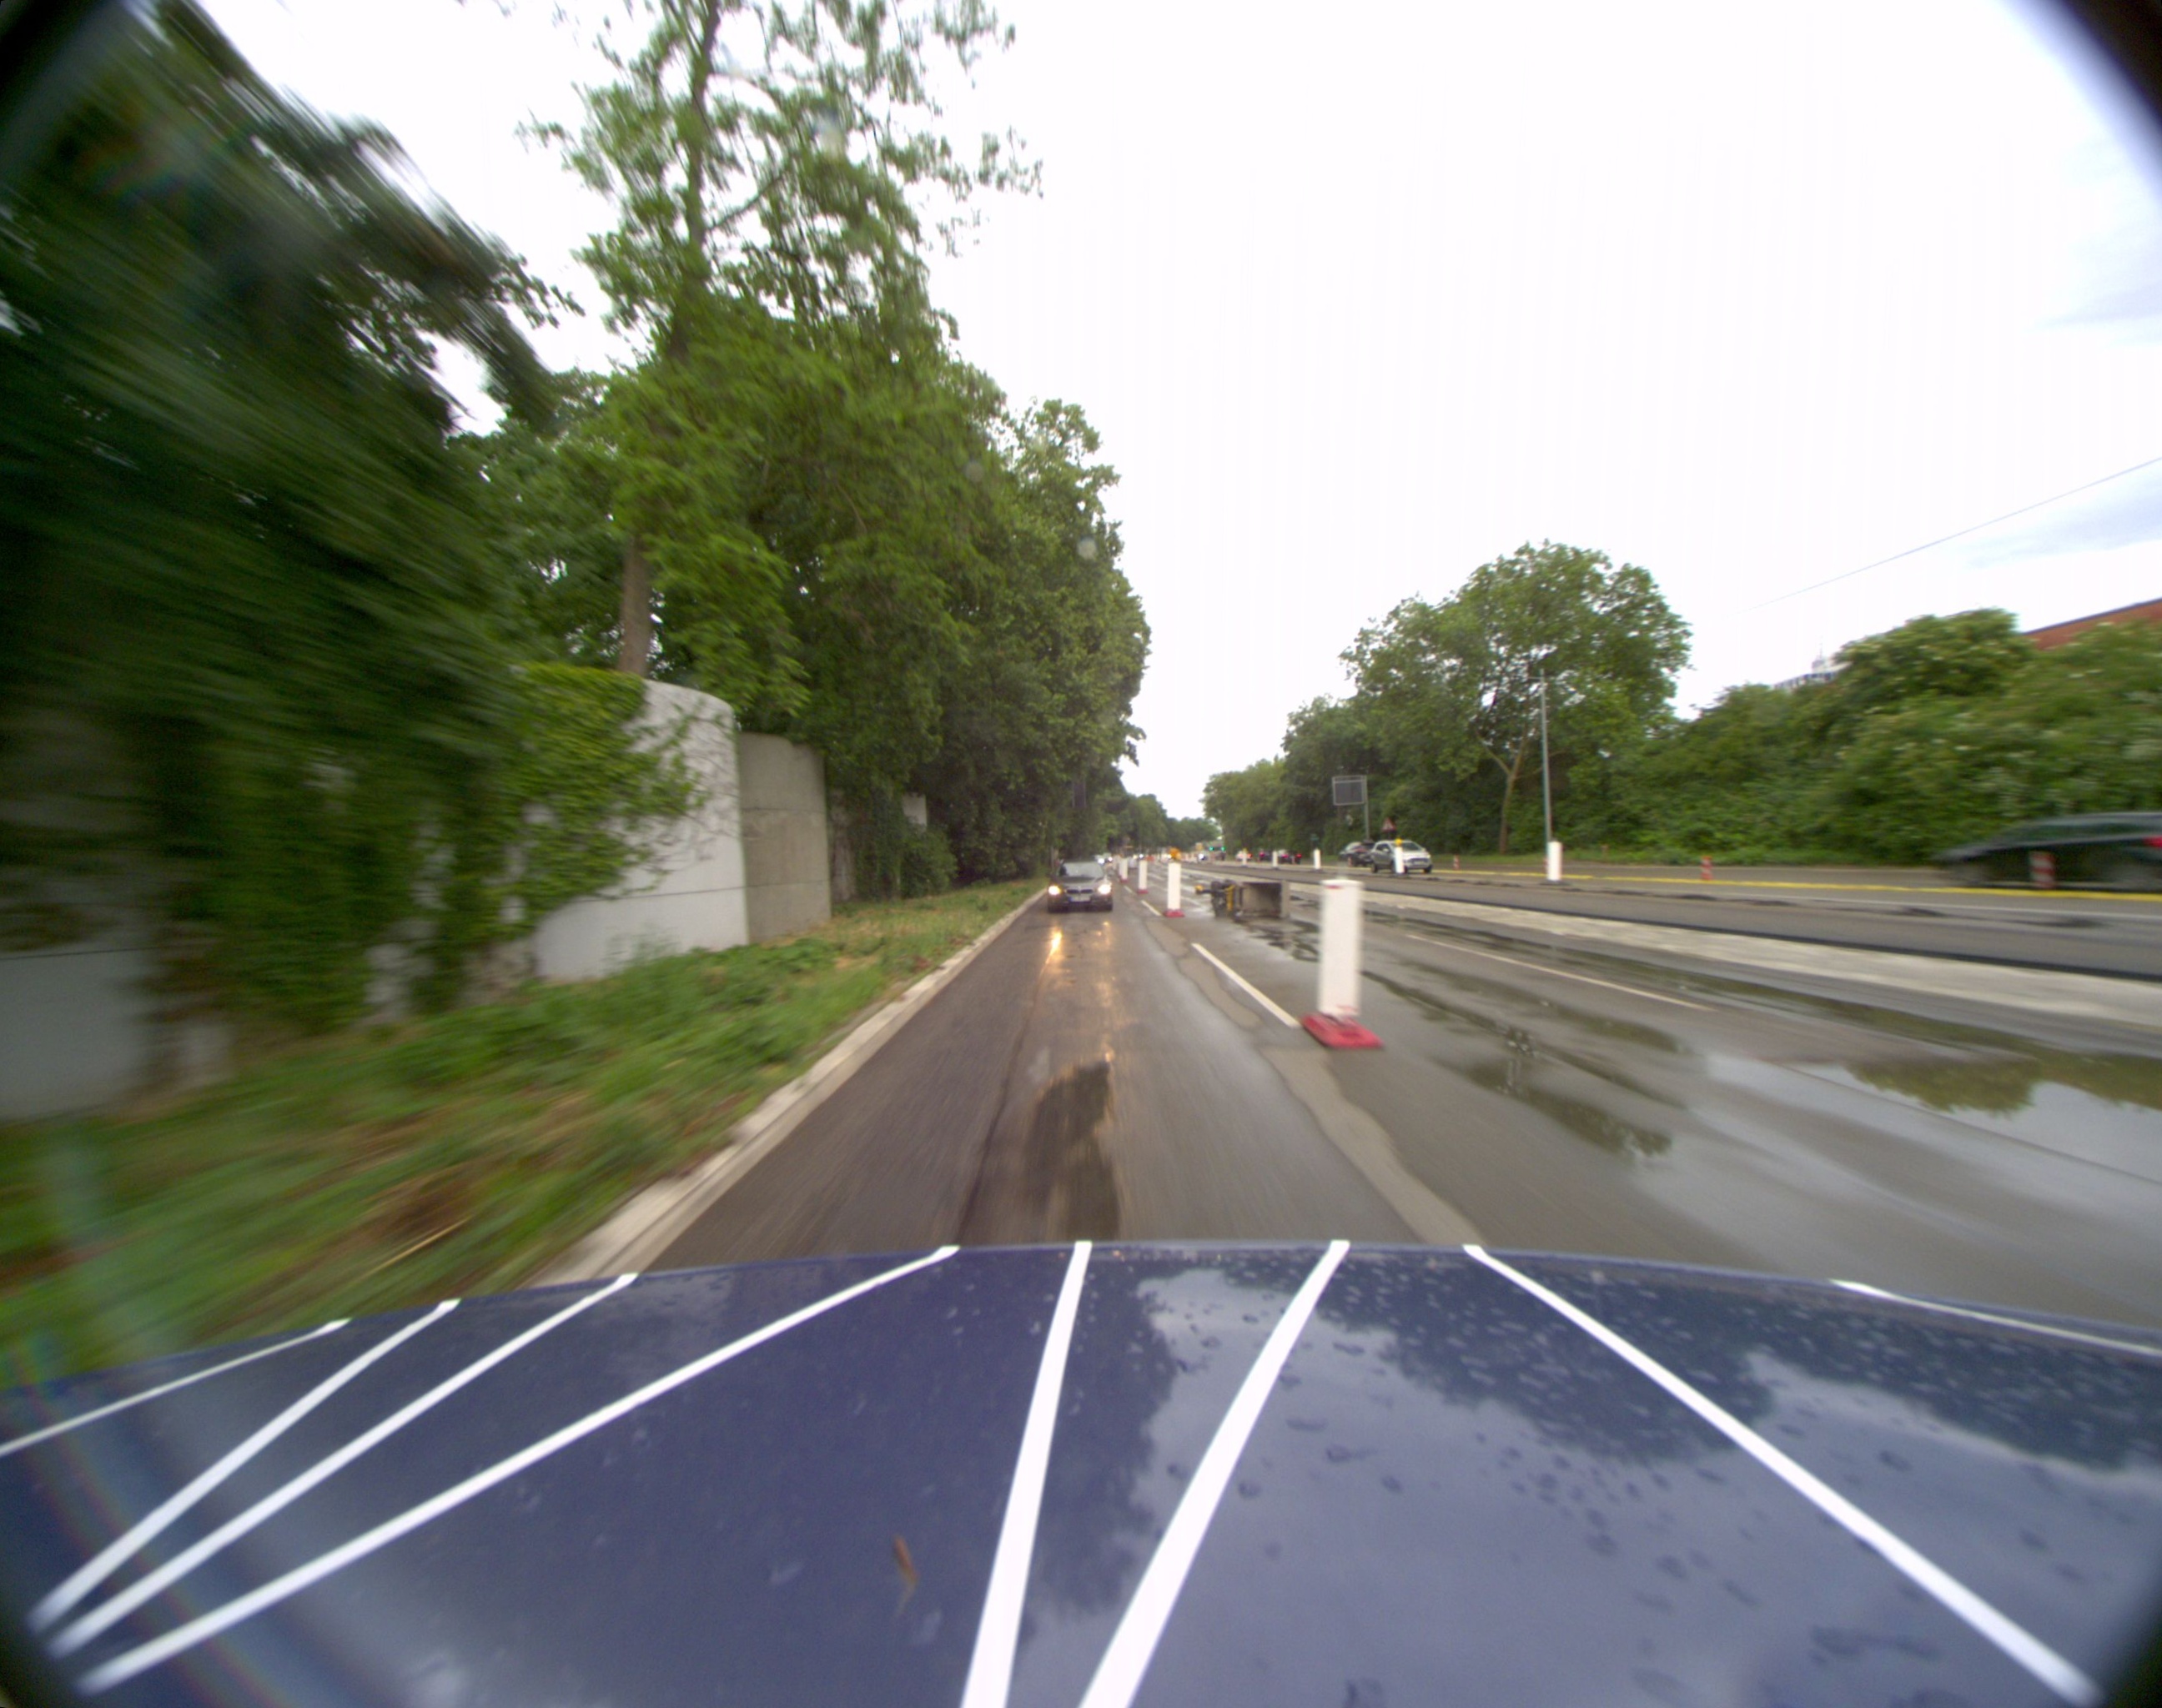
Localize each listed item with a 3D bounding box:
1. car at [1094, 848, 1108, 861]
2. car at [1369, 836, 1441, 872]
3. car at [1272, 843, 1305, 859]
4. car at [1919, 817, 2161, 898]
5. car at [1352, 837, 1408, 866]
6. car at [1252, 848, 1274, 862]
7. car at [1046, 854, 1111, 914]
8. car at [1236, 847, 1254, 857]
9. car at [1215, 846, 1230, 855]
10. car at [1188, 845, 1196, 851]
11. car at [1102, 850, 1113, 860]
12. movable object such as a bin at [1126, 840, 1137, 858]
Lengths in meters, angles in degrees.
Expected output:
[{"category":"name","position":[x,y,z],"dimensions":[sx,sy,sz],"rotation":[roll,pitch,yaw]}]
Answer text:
[{"category":"car","position":[2.730,0.086,103.017],"dimensions":[1.707,1.681,4.472],"rotation":[-1,1,3]},{"category":"car","position":[15.413,-0.023,36.369],"dimensions":[1.794,1.575,3.861],"rotation":[-2,0,1]},{"category":"car","position":[19.807,-0.278,72.773],"dimensions":[1.765,1.475,4.900],"rotation":[-2,0,0]},{"category":"car","position":[18.610,0.031,14.246],"dimensions":[1.452,1.324,3.860],"rotation":[-2,0,-2]},{"category":"car","position":[18.860,-0.162,48.071],"dimensions":[1.739,1.712,4.493],"rotation":[-2,1,0]},{"category":"car","position":[23.127,0.075,96.795],"dimensions":[1.657,1.675,4.533],"rotation":[-3,0,1]},{"category":"car","position":[0.003,0.796,21.949],"dimensions":[1.701,1.477,4.000],"rotation":[-1,1,2]},{"category":"car","position":[24.663,-0.281,114.355],"dimensions":[1.822,1.411,4.602],"rotation":[-3,0,1]},{"category":"car","position":[23.338,-0.554,125.604],"dimensions":[1.822,1.347,4.204],"rotation":[-1,0,1]},{"category":"car","position":[33.128,-1.714,227.483],"dimensions":[1.781,1.654,4.915],"rotation":[0,0,2]},{"category":"car","position":[4.706,0.092,134.847],"dimensions":[1.707,1.681,4.473],"rotation":[-1,1,5]},{"category":"movable object such as a bin","position":[8.967,-0.906,134.512],"dimensions":[1.807,2.968,5.247],"rotation":[-1,1,6]}]
